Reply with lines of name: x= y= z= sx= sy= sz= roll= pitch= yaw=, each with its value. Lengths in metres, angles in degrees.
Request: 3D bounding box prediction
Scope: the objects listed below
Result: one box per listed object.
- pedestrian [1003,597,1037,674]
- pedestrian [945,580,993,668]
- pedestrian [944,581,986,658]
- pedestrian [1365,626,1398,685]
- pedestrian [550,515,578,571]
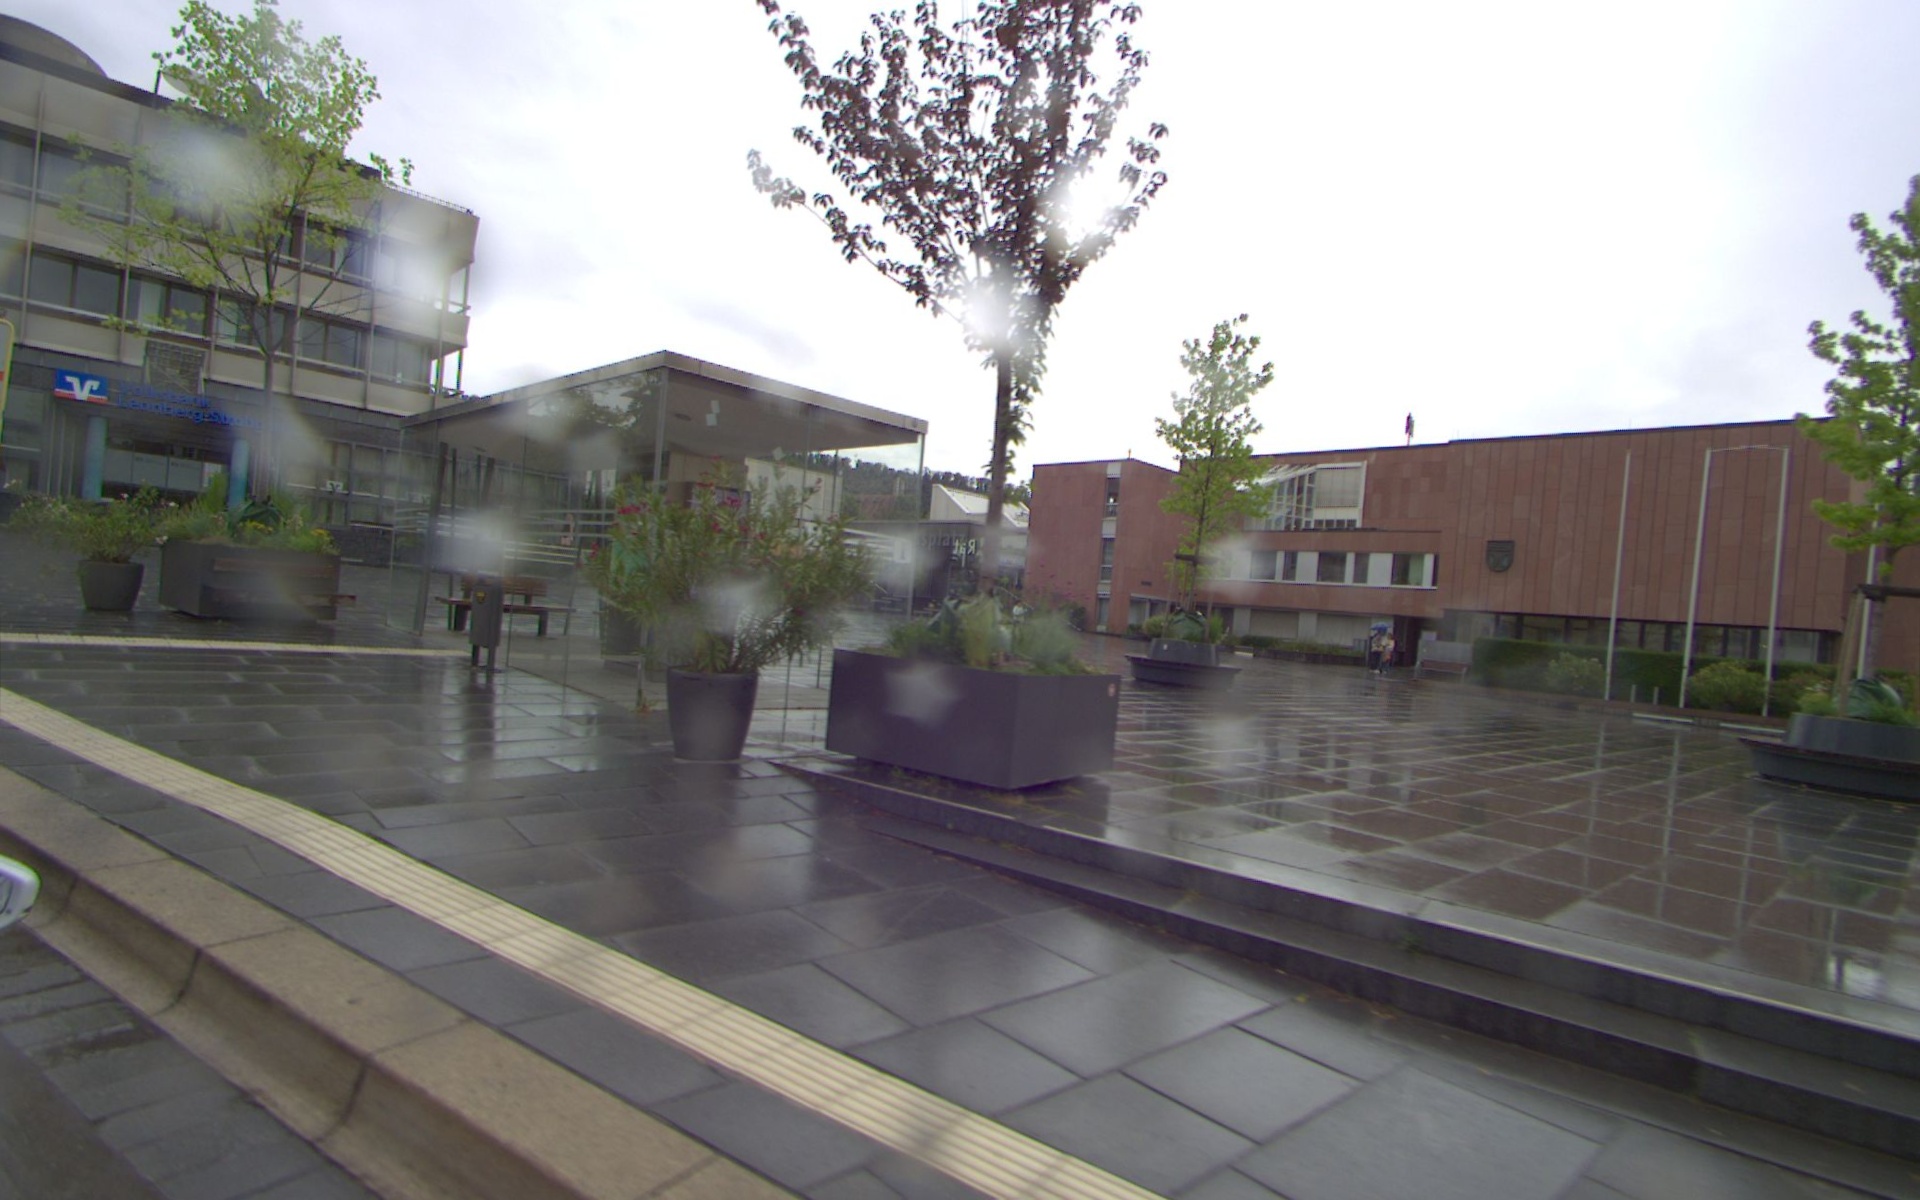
pedestrian: x=1.977 y=1.165 z=33.218 sx=0.731 sy=2.471 sz=0.562 roll=3 pitch=2 yaw=-44
pedestrian: x=0.297 y=0.780 z=32.341 sx=1.048 sy=2.719 sz=0.823 roll=3 pitch=2 yaw=-39
pedestrian: x=0.170 y=0.644 z=33.176 sx=0.936 sy=2.471 sz=0.767 roll=3 pitch=2 yaw=-42
pedestrian: x=17.412 y=2.298 z=41.574 sx=0.788 sy=2.338 sz=0.898 roll=7 pitch=2 yaw=42
pedestrian: x=-15.932 y=-2.296 z=40.422 sx=0.754 sy=2.175 sz=0.652 roll=3 pitch=2 yaw=-39
